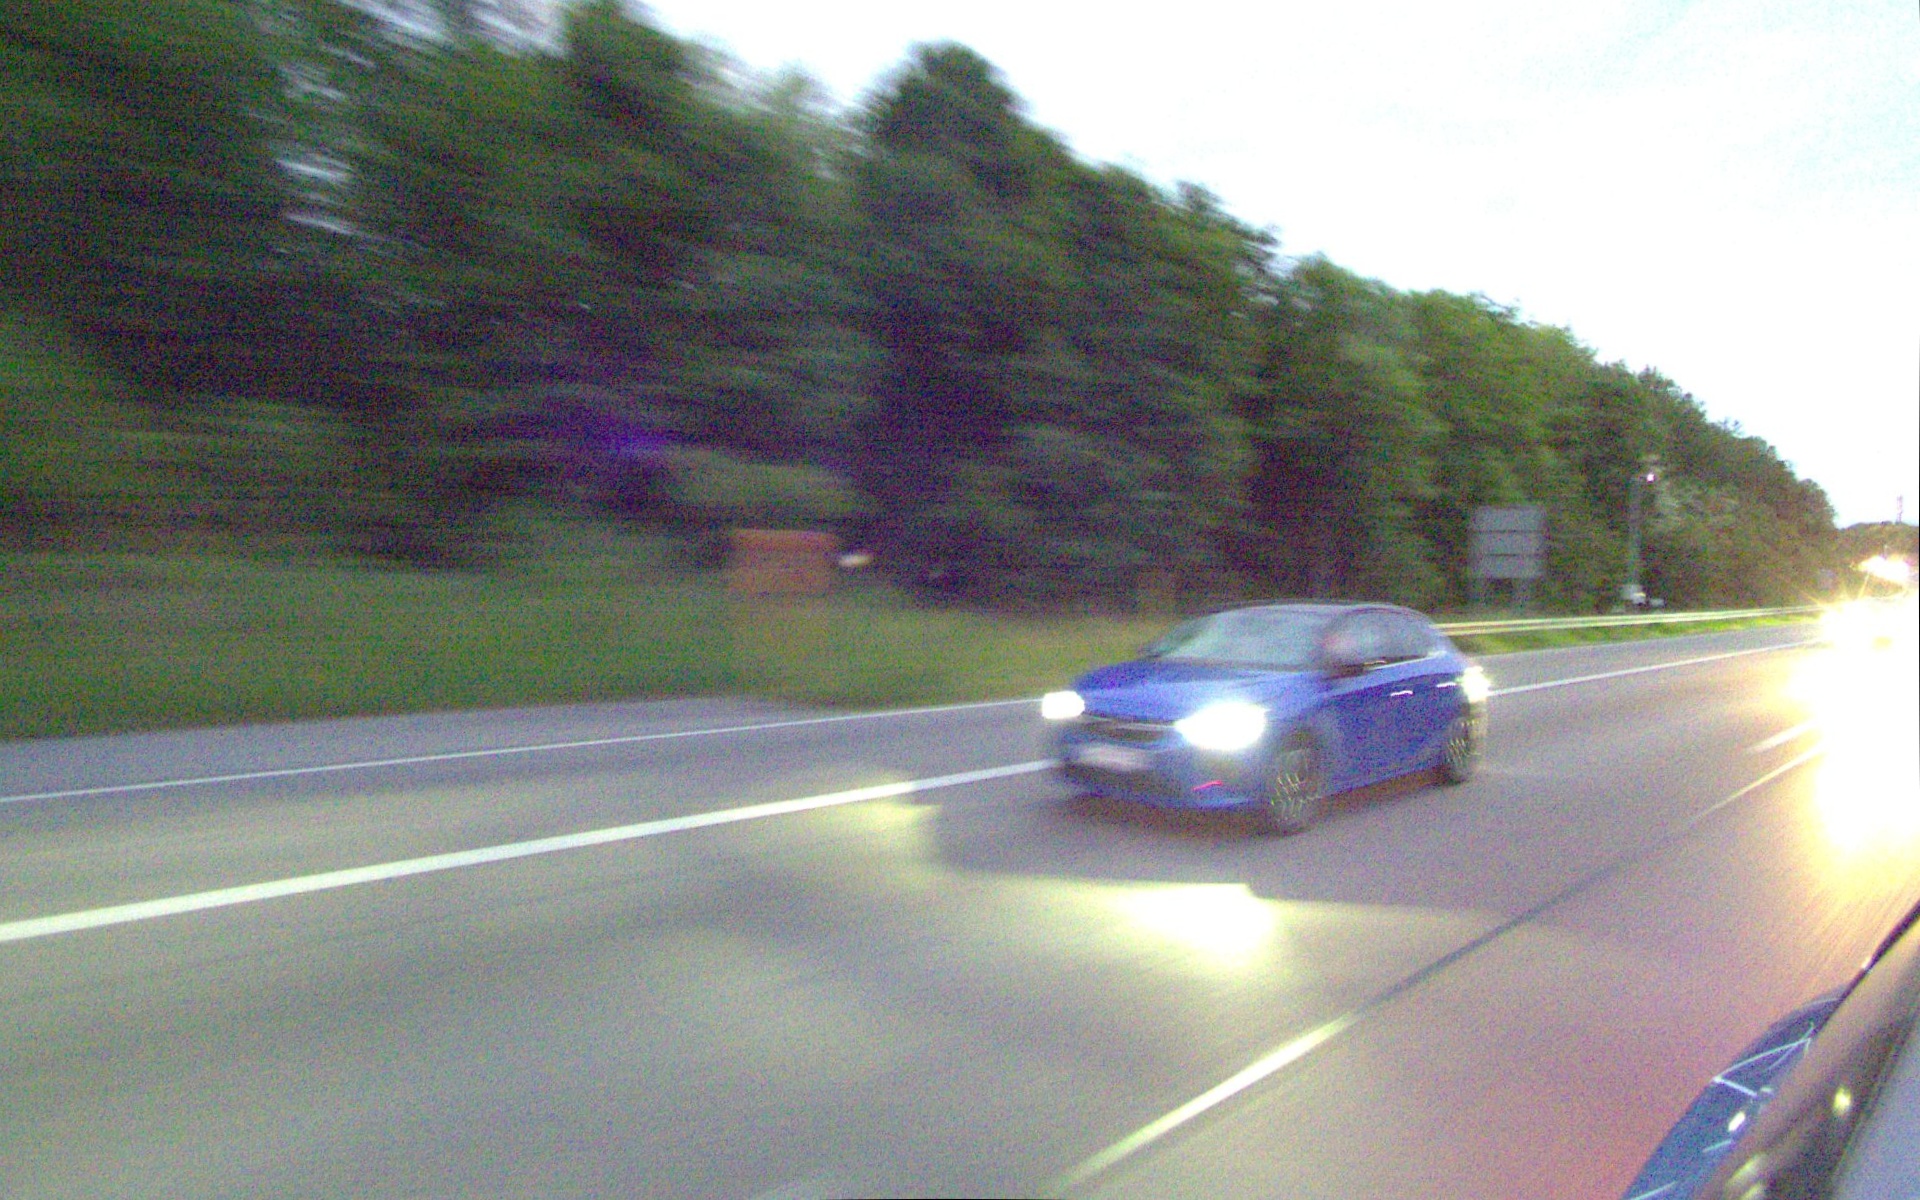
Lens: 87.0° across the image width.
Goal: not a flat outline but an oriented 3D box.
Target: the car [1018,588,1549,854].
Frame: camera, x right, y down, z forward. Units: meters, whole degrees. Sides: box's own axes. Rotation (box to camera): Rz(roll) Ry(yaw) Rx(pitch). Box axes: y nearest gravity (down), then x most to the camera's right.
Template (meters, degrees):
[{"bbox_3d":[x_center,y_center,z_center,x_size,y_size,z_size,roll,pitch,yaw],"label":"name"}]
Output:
[{"bbox_3d":[2.728,0.673,7.914,4.504,1.454,1.868,-1,0,-41],"label":"car"}]

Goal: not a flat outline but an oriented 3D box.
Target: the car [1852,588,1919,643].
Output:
[{"bbox_3d":[27.707,0.416,29.674,4.863,1.509,1.694,0,-1,-41],"label":"car"}]
